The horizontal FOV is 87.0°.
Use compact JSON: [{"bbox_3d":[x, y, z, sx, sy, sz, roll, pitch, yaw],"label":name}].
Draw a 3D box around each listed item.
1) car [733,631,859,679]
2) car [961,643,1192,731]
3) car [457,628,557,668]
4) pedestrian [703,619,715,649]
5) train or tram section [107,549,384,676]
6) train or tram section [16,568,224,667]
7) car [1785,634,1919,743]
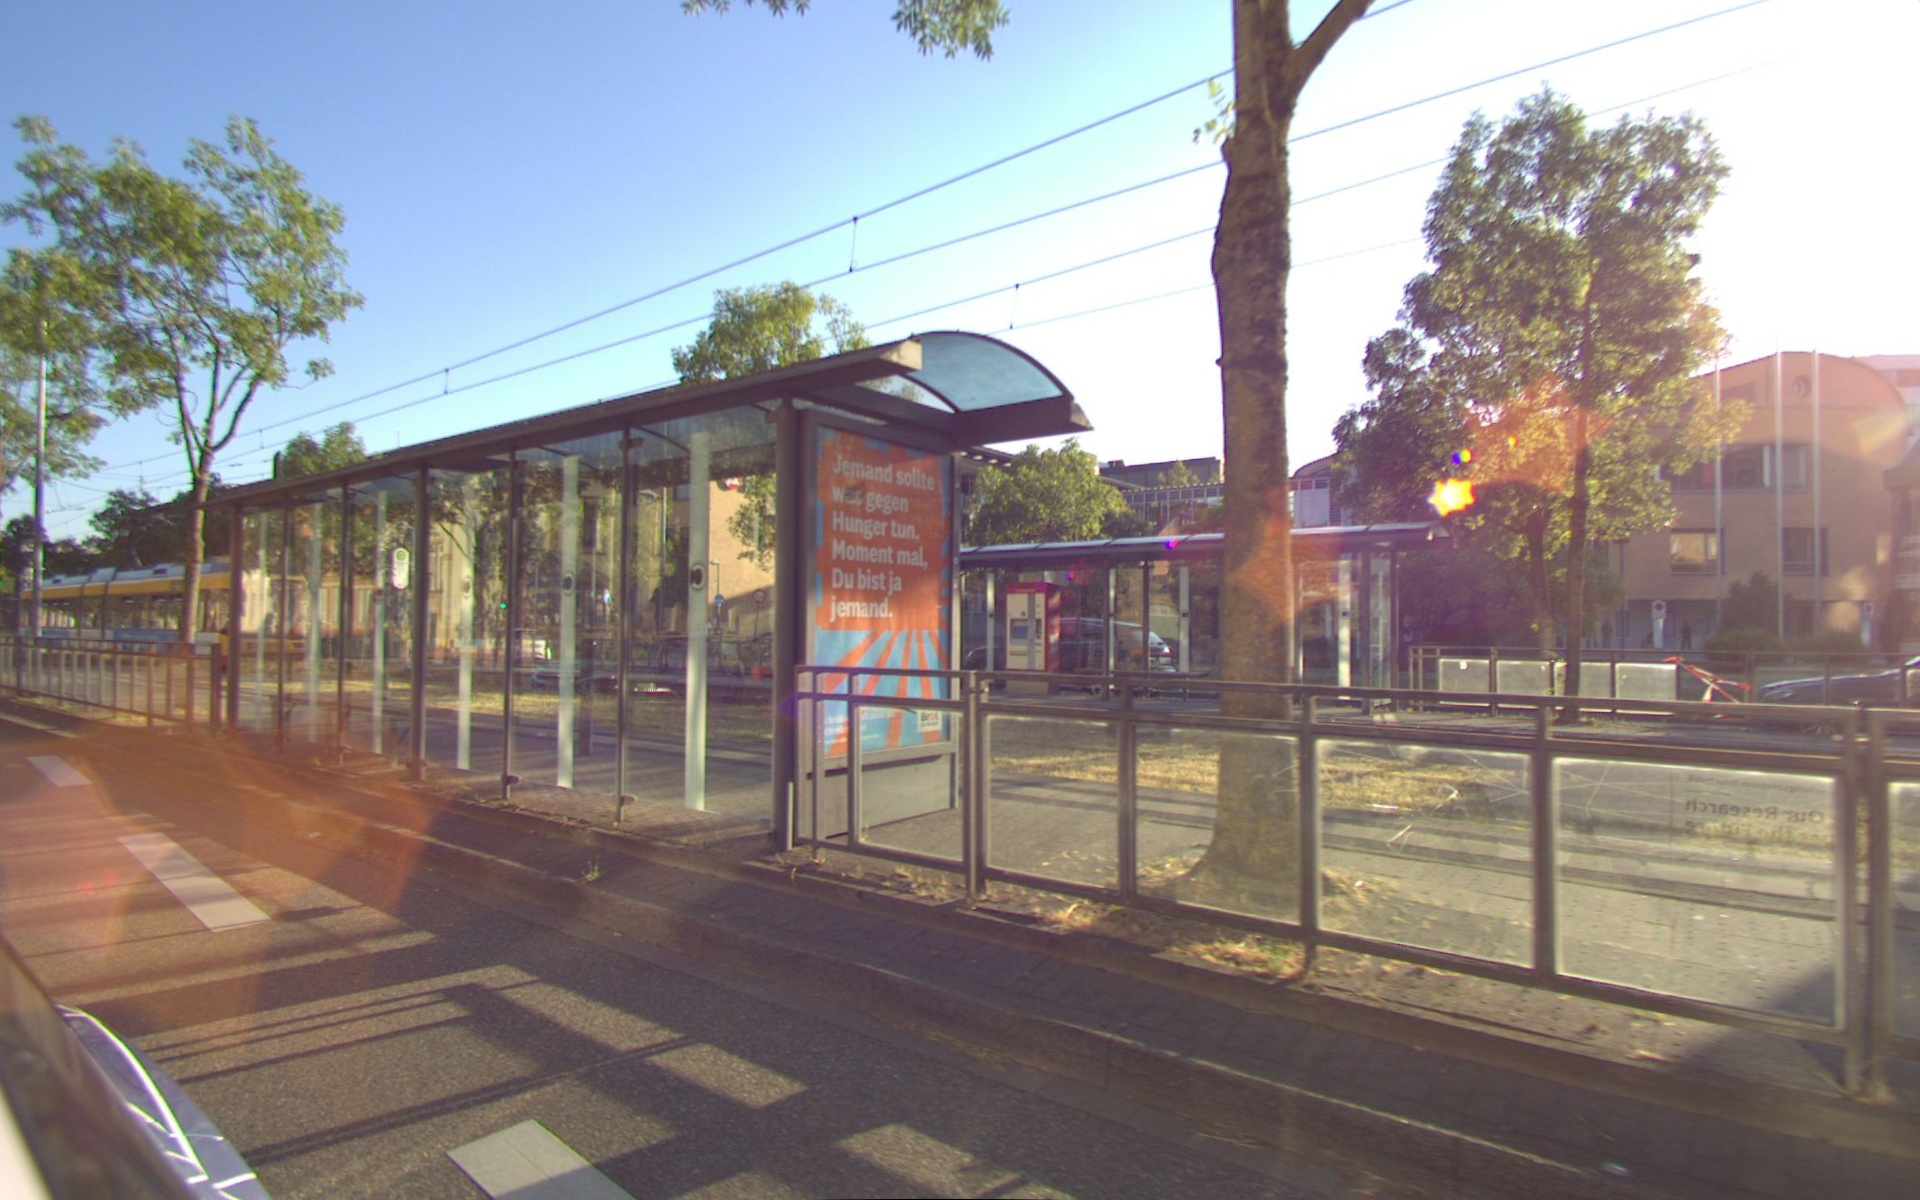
[{"bbox_3d":[-4.883,1.593,29.937,3.682,1.308,1.526,-1,-2,36],"label":"car"},{"bbox_3d":[2.285,1.664,20.465,4.355,1.519,1.844,-1,-2,38],"label":"car"},{"bbox_3d":[-18.159,1.895,40.563,3.990,1.519,1.846,-1,-2,34],"label":"car"},{"bbox_3d":[-12.707,1.701,51.311,0.538,1.517,0.532,0,-2,-10],"label":"pedestrian"},{"bbox_3d":[-23.240,0.437,32.353,13.838,3.365,3.398,-1,-2,38],"label":"train or tram section"},{"bbox_3d":[-34.586,0.728,41.265,15.006,3.456,3.398,-1,-2,38],"label":"train or tram section"},{"bbox_3d":[12.889,1.098,12.587,3.995,1.308,1.677,-1,-2,38],"label":"car"}]
